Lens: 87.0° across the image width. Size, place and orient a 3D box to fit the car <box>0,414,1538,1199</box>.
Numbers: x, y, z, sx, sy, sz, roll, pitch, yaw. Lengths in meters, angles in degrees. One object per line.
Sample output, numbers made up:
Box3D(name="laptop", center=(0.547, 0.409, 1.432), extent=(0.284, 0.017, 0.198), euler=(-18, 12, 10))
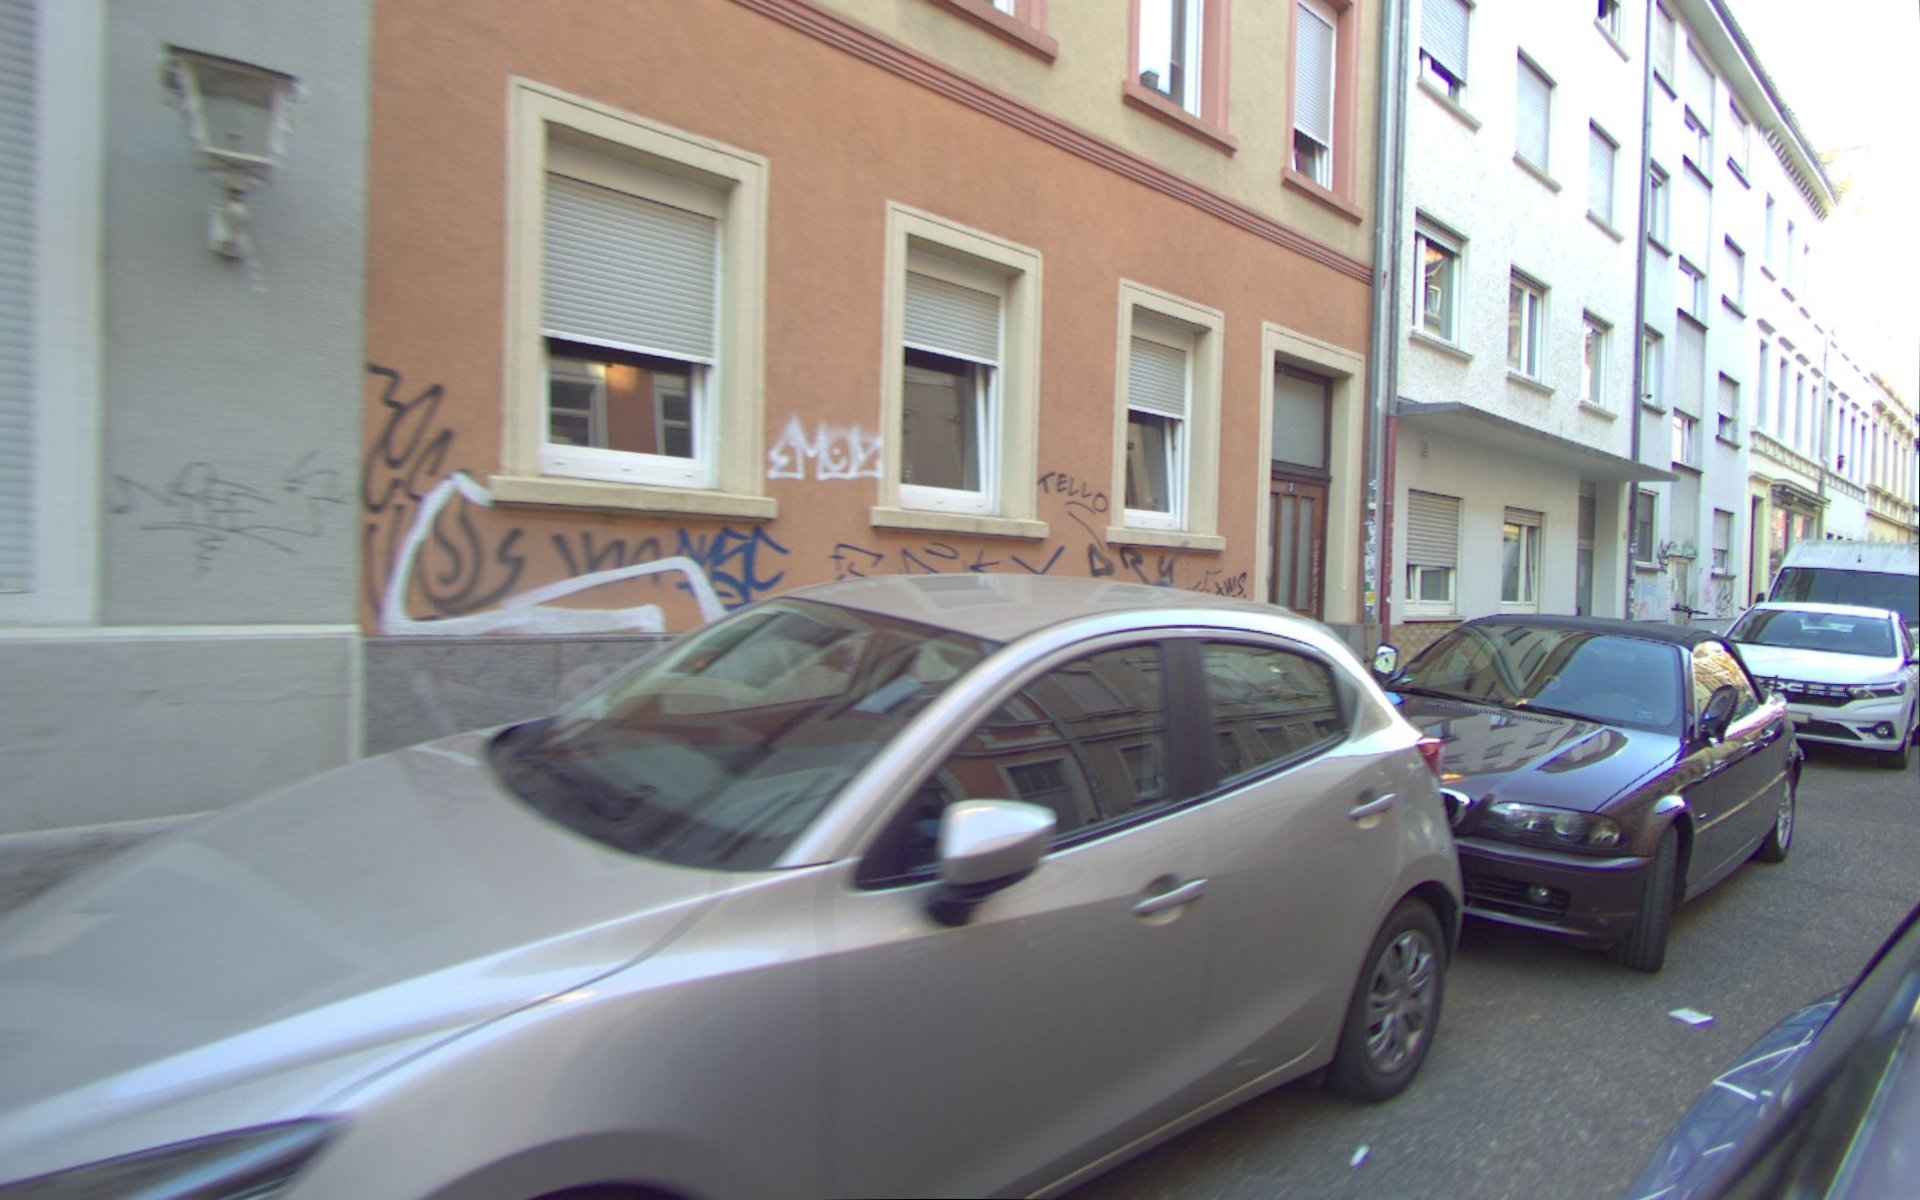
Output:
Box3D(name="car", center=(-0.181, 0.618, 2.756), extent=(4.114, 1.617, 1.683), euler=(0, 0, -39))

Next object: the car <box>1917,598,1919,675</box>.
Box3D(name="car", center=(21.685, 0.759, 21.445), extent=(3.792, 1.585, 1.682), euler=(0, 0, -41))

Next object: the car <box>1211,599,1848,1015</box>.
Box3D(name="car", center=(3.407, 0.706, 5.600), extent=(4.417, 1.412, 1.770), euler=(0, 0, -42))

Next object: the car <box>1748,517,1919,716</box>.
Box3D(name="car", center=(14.112, 0.207, 15.415), extent=(5.914, 2.545, 2.049), euler=(0, 0, -39))

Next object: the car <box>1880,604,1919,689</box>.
Box3D(name="car", center=(18.095, 0.803, 18.345), extent=(3.792, 1.461, 1.682), euler=(0, 0, -41))

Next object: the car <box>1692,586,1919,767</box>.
Box3D(name="car", center=(9.192, 0.663, 10.732), extent=(3.796, 1.579, 1.680), euler=(0, 0, -44))
